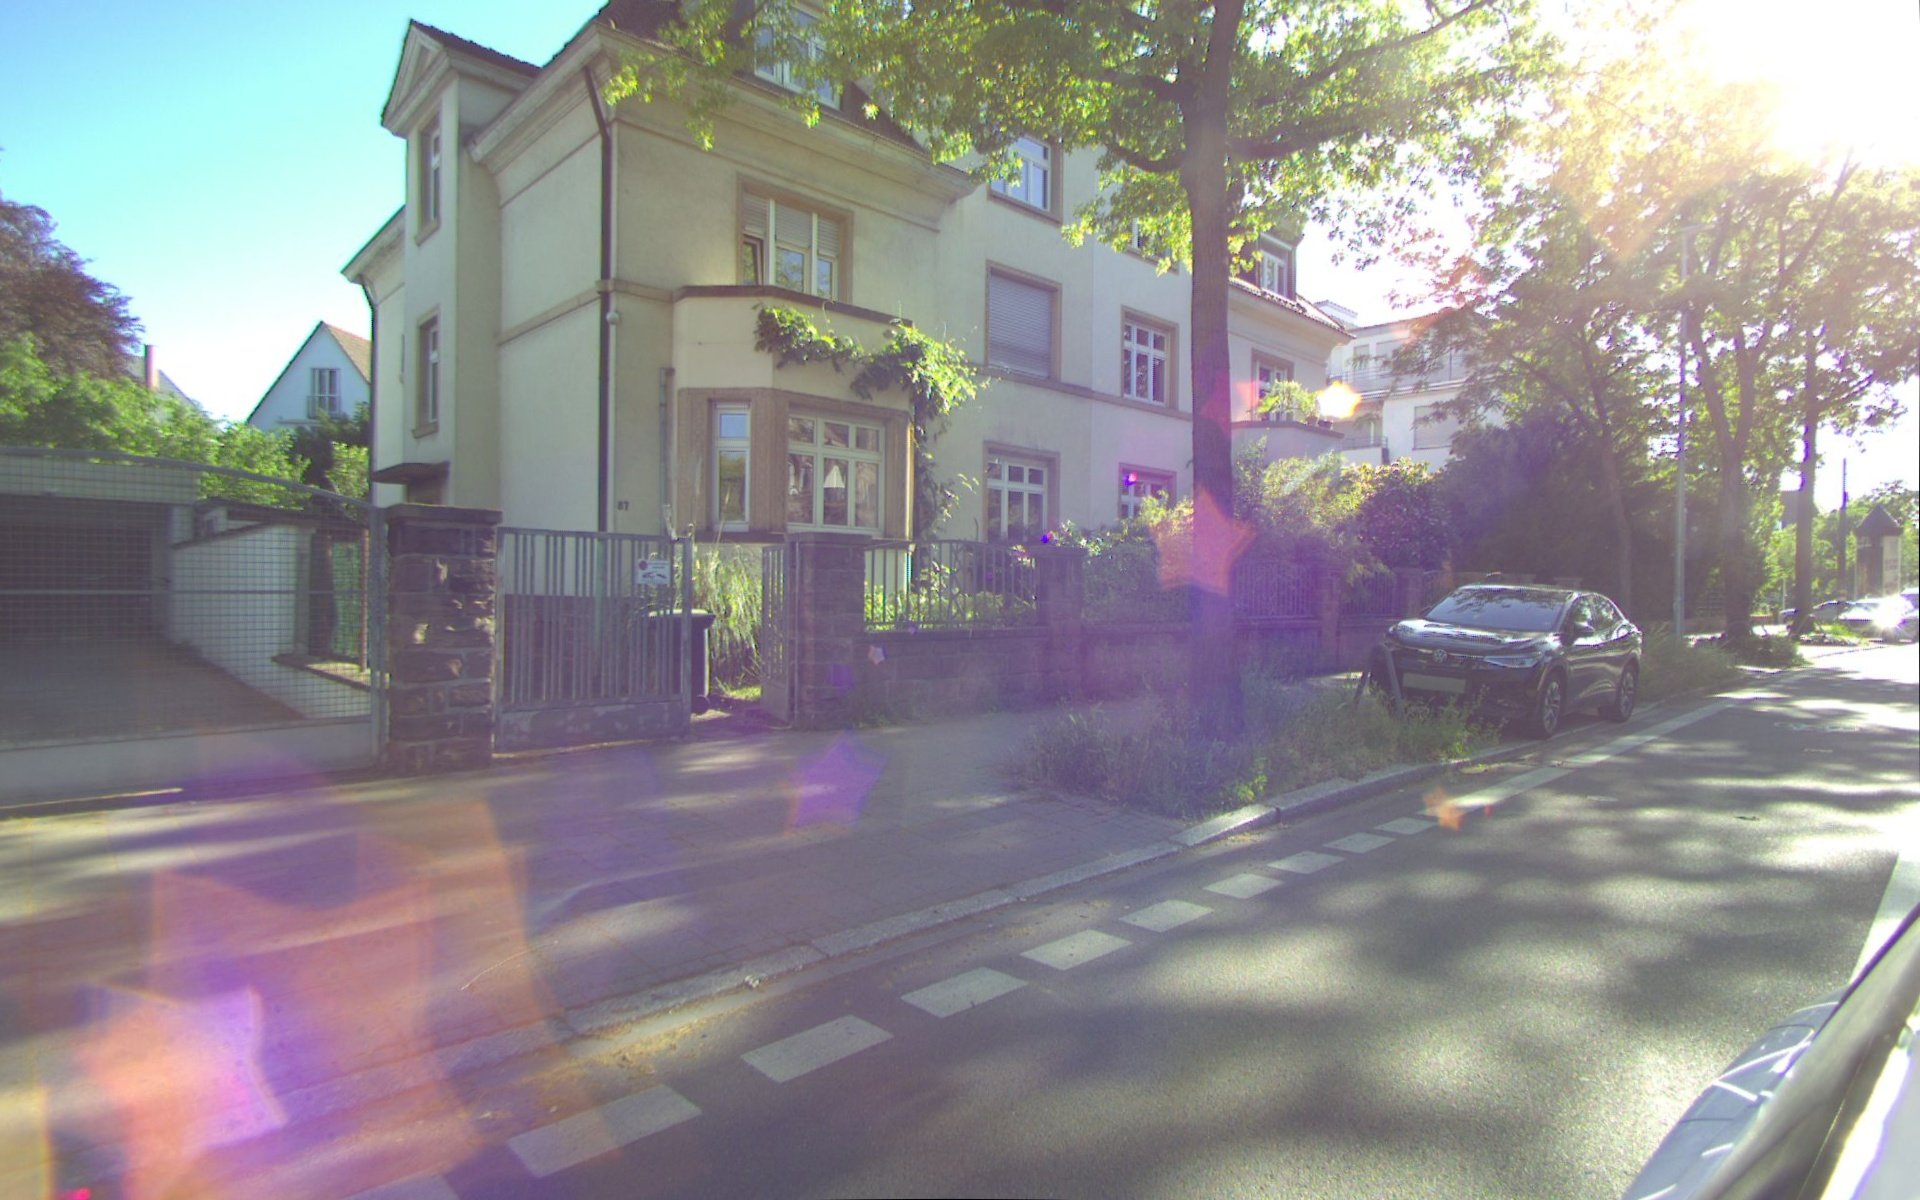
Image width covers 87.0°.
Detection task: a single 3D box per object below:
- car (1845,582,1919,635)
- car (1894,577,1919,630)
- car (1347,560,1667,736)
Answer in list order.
[{"bbox_3d":[31.506,0.250,34.105,3.927,1.660,1.824,0,1,-38],"label":"car"},{"bbox_3d":[36.761,0.126,37.883,4.663,1.919,2.128,0,1,-41],"label":"car"},{"bbox_3d":[6.699,0.480,12.200,4.304,1.695,1.997,1,2,-42],"label":"car"}]
